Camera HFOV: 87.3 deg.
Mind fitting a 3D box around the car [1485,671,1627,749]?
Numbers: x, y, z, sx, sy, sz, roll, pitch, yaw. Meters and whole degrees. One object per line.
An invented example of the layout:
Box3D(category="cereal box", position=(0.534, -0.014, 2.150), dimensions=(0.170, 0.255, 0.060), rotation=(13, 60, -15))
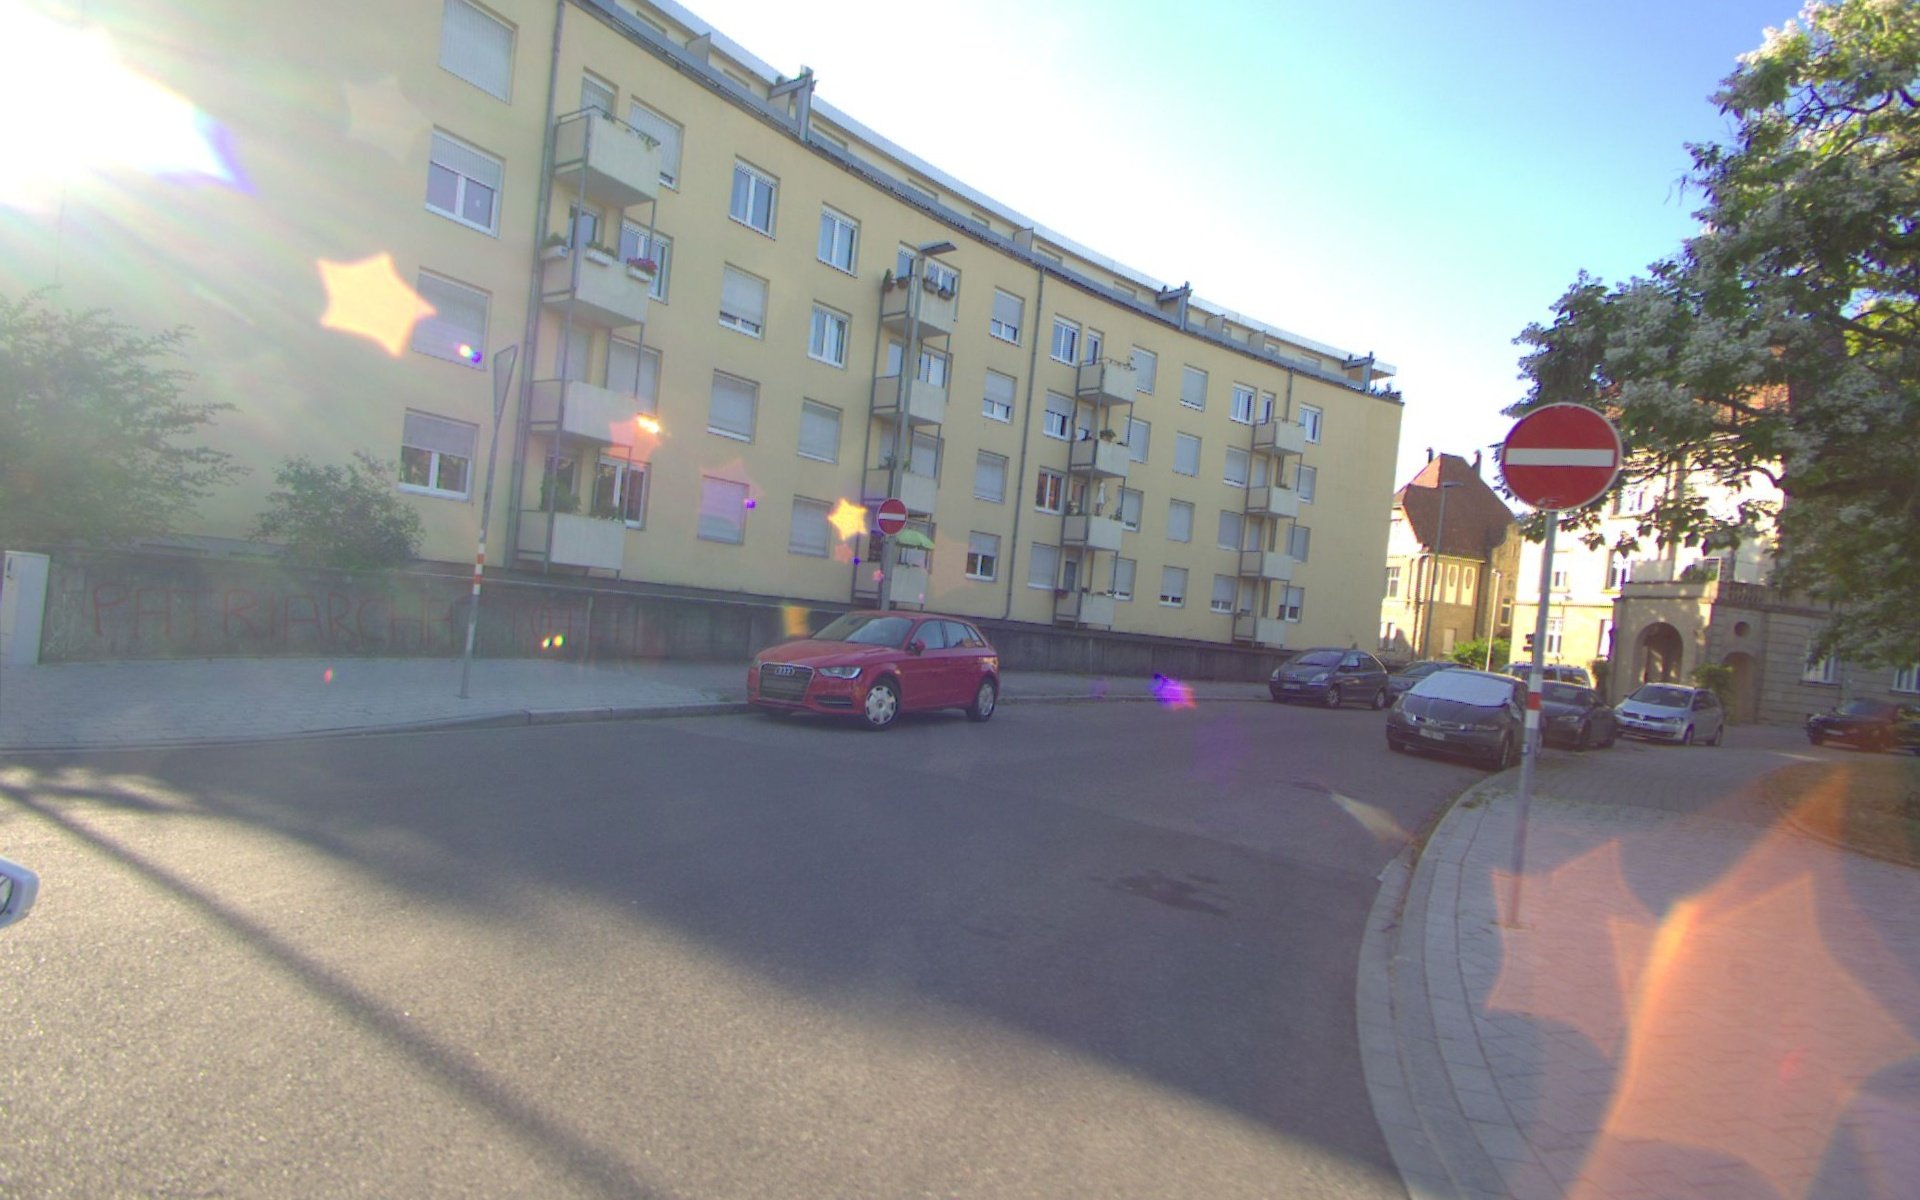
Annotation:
Box3D(category="car", position=(13.052, 2.423, 21.946), dimensions=(3.683, 1.313, 1.704), rotation=(8, 0, -45))

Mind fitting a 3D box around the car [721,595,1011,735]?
Box3D(category="car", position=(-1.023, 0.850, 13.088), dimensions=(1.759, 1.436, 4.043), rotation=(3, -3, 28))

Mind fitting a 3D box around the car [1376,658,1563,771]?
Box3D(category="car", position=(8.593, 1.898, 16.797), dimensions=(1.702, 1.445, 3.981), rotation=(8, 0, 42))

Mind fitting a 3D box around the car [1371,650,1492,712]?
Box3D(category="car", position=(14.488, 2.506, 30.860), dimensions=(4.013, 1.595, 1.690), rotation=(6, -2, -39))

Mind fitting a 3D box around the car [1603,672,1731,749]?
Box3D(category="car", position=(18.927, 2.979, 26.888), dimensions=(3.675, 1.647, 1.708), rotation=(8, 0, -38))

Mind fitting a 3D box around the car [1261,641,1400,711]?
Box3D(category="car", position=(10.105, 2.083, 27.345), dimensions=(4.015, 1.595, 1.689), rotation=(6, -2, -40))

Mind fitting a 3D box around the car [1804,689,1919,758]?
Box3D(category="car", position=(30.480, 4.153, 33.777), dimensions=(3.657, 1.778, 1.716), rotation=(8, 0, -24))

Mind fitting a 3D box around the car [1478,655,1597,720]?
Box3D(category="car", position=(20.079, 3.046, 34.936), dimensions=(4.003, 1.817, 1.694), rotation=(7, -1, -30))
